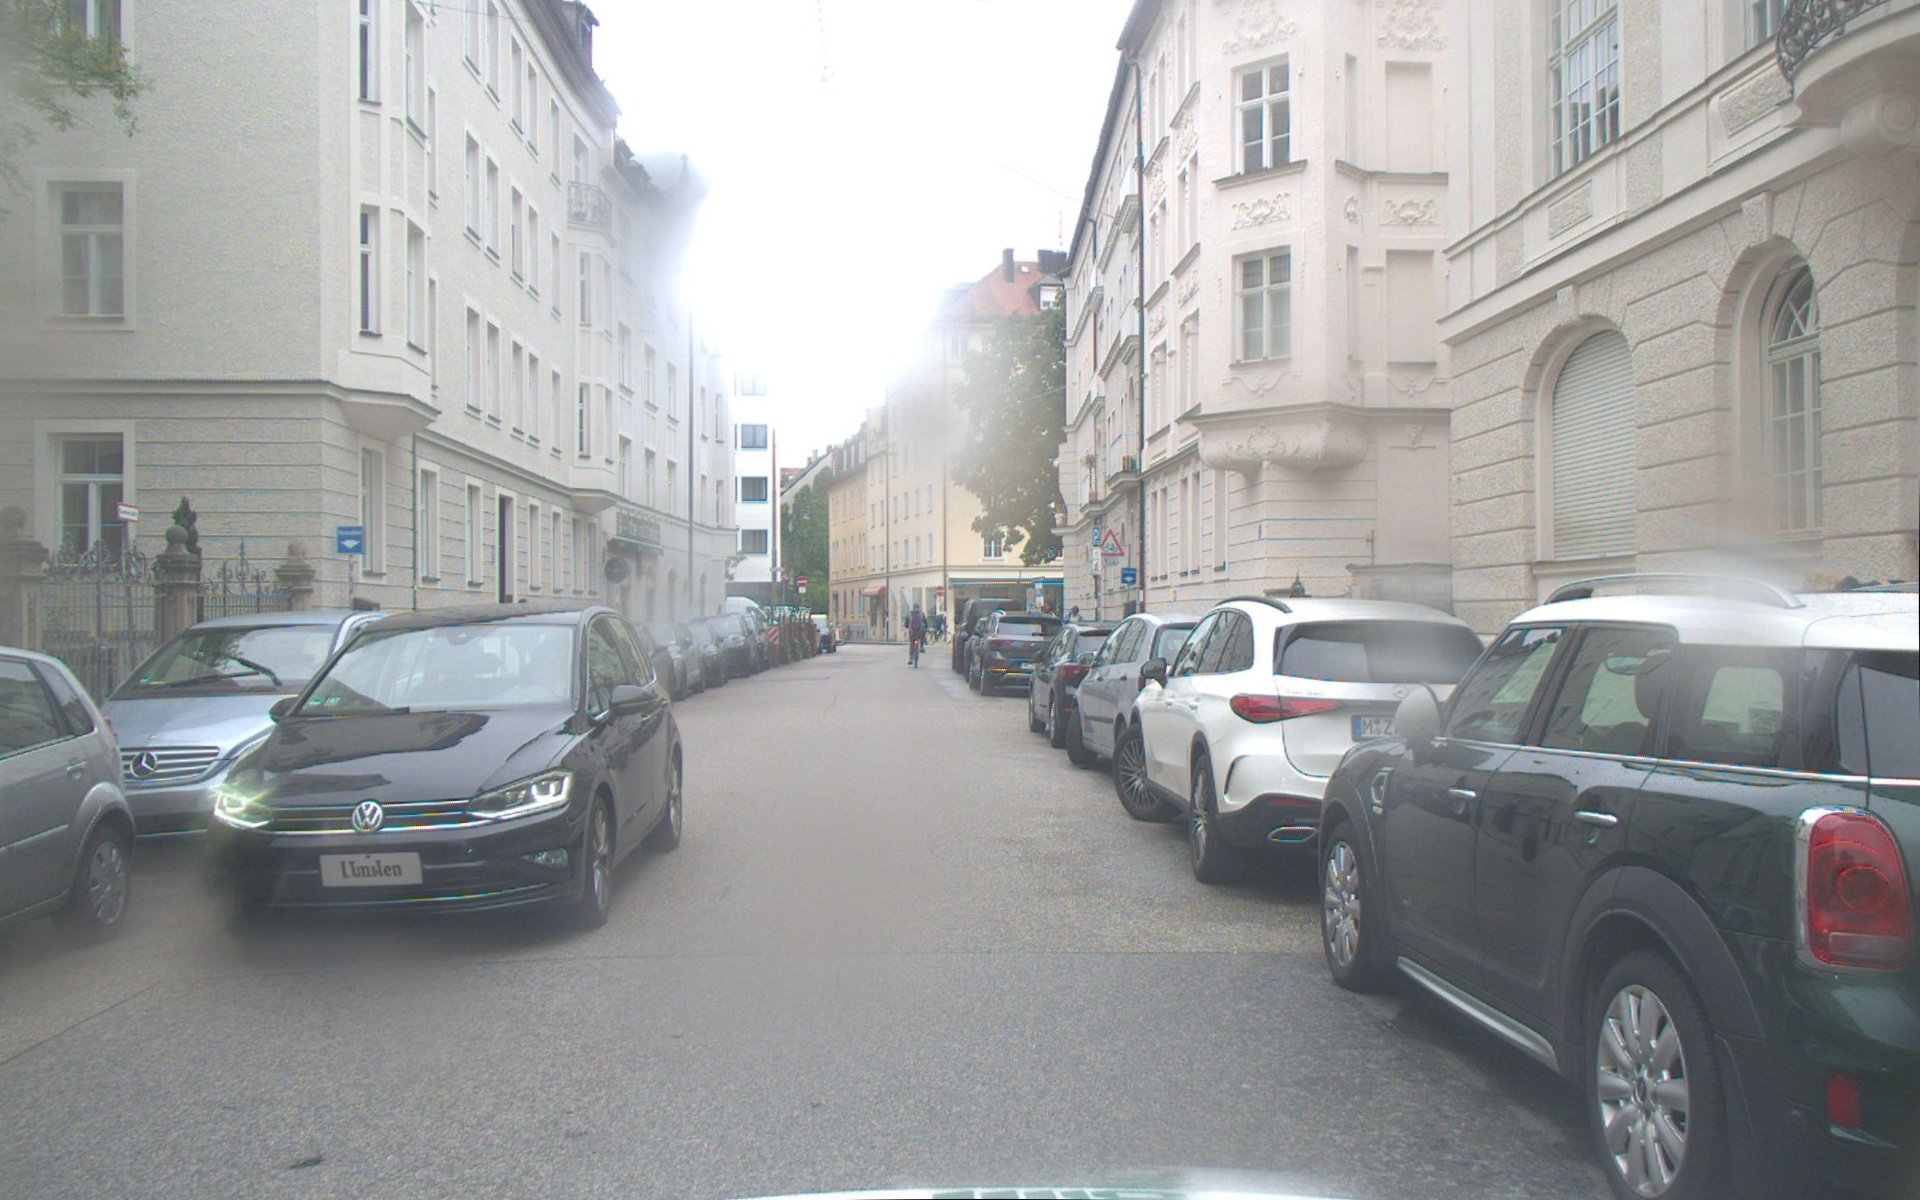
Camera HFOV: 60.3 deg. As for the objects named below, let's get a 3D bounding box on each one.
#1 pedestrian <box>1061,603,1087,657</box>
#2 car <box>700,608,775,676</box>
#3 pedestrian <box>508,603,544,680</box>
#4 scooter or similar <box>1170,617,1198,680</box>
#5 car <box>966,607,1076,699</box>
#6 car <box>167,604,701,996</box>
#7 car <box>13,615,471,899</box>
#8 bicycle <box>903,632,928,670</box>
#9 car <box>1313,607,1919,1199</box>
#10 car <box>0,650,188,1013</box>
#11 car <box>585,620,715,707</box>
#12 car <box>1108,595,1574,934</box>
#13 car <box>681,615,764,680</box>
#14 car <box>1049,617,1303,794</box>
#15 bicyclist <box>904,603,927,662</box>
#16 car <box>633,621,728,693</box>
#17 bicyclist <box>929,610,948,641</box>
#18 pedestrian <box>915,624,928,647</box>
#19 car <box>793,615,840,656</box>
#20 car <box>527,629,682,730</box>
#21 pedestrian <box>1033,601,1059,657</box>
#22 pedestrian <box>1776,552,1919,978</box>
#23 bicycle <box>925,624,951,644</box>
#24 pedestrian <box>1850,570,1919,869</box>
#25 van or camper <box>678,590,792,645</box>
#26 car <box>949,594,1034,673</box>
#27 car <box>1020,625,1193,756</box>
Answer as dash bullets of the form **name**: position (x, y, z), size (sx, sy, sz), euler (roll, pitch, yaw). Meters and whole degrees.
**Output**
- **pedestrian**: position (3.632, 0.952, 52.857), size (0.666, 1.703, 0.653), euler (-3, 0, -5)
- **car**: position (-6.215, 1.146, 46.610), size (1.712, 1.702, 4.272), euler (-3, 0, -4)
- **pedestrian**: position (-9.842, 0.936, 37.530), size (0.684, 1.737, 0.664), euler (0, -1, -5)
- **scooter or similar**: position (4.852, 1.039, 35.883), size (0.496, 1.310, 1.352), euler (-3, -1, 6)
- **car**: position (1.108, 0.972, 31.919), size (1.674, 1.615, 3.996), euler (1, 0, -4)
- **car**: position (-2.536, 0.858, 9.028), size (1.690, 1.560, 4.083), euler (-3, 0, -2)
- **car**: position (-5.003, 0.979, 12.184), size (1.663, 1.608, 4.060), euler (-3, 0, -2)
- **bicycle**: position (-1.254, 1.438, 46.670), size (0.626, 1.022, 1.574), euler (-1, -1, 1)
- **car**: position (2.509, 0.799, 5.310), size (1.713, 1.551, 4.168), euler (0, 0, -2)
- **car**: position (-4.735, 1.004, 6.667), size (1.613, 1.427, 3.996), euler (-3, 0, -5)
- **car**: position (-5.877, 1.162, 31.801), size (1.759, 1.444, 4.508), euler (-3, -1, -3)
- **car**: position (2.135, 0.823, 10.583), size (1.857, 1.665, 4.390), euler (0, 1, -2)
- **car**: position (-5.964, 1.160, 41.878), size (1.707, 1.513, 4.178), euler (-1, 0, -3)
- **car**: position (1.999, 0.941, 16.438), size (1.675, 1.527, 3.995), euler (0, -1, -5)
- **bicyclist**: position (-1.261, 0.911, 46.668), size (0.593, 1.635, 0.757), euler (-1, 0, 1)
- **car**: position (-6.180, 1.234, 36.995), size (1.776, 1.409, 4.437), euler (-2, 0, -6)
- **bicyclist**: position (-1.159, 1.355, 88.013), size (0.768, 1.666, 0.971), euler (0, 0, -16)
- **pedestrian**: position (-2.176, 1.999, 93.465), size (0.684, 1.293, 0.651), euler (-1, -1, 2)
- **car**: position (-6.092, 1.482, 70.549), size (1.642, 1.625, 3.944), euler (-2, -1, -1)
- **car**: position (-5.566, 1.201, 26.413), size (1.813, 1.391, 4.697), euler (0, 0, -5)
- **pedestrian**: position (2.710, 0.907, 52.293), size (0.689, 1.758, 0.702), euler (-1, 0, -5)
- **pedestrian**: position (4.298, 0.693, 7.503), size (0.668, 1.806, 0.854), euler (-3, 0, -2)
- **bicycle**: position (-1.194, 1.814, 88.146), size (0.833, 1.019, 2.160), euler (0, 0, -16)
- **pedestrian**: position (5.810, 0.679, 9.688), size (0.668, 1.708, 0.811), euler (-3, 0, -4)
- **van or camper**: position (-11.779, 0.927, 86.400), size (5.798, 2.724, 1.868), euler (-1, -2, -11)
- **car**: position (0.771, 0.842, 43.481), size (1.873, 1.918, 4.711), euler (2, 0, -3)
- **car**: position (1.737, 1.057, 20.705), size (1.580, 1.419, 3.997), euler (1, 0, -3)
